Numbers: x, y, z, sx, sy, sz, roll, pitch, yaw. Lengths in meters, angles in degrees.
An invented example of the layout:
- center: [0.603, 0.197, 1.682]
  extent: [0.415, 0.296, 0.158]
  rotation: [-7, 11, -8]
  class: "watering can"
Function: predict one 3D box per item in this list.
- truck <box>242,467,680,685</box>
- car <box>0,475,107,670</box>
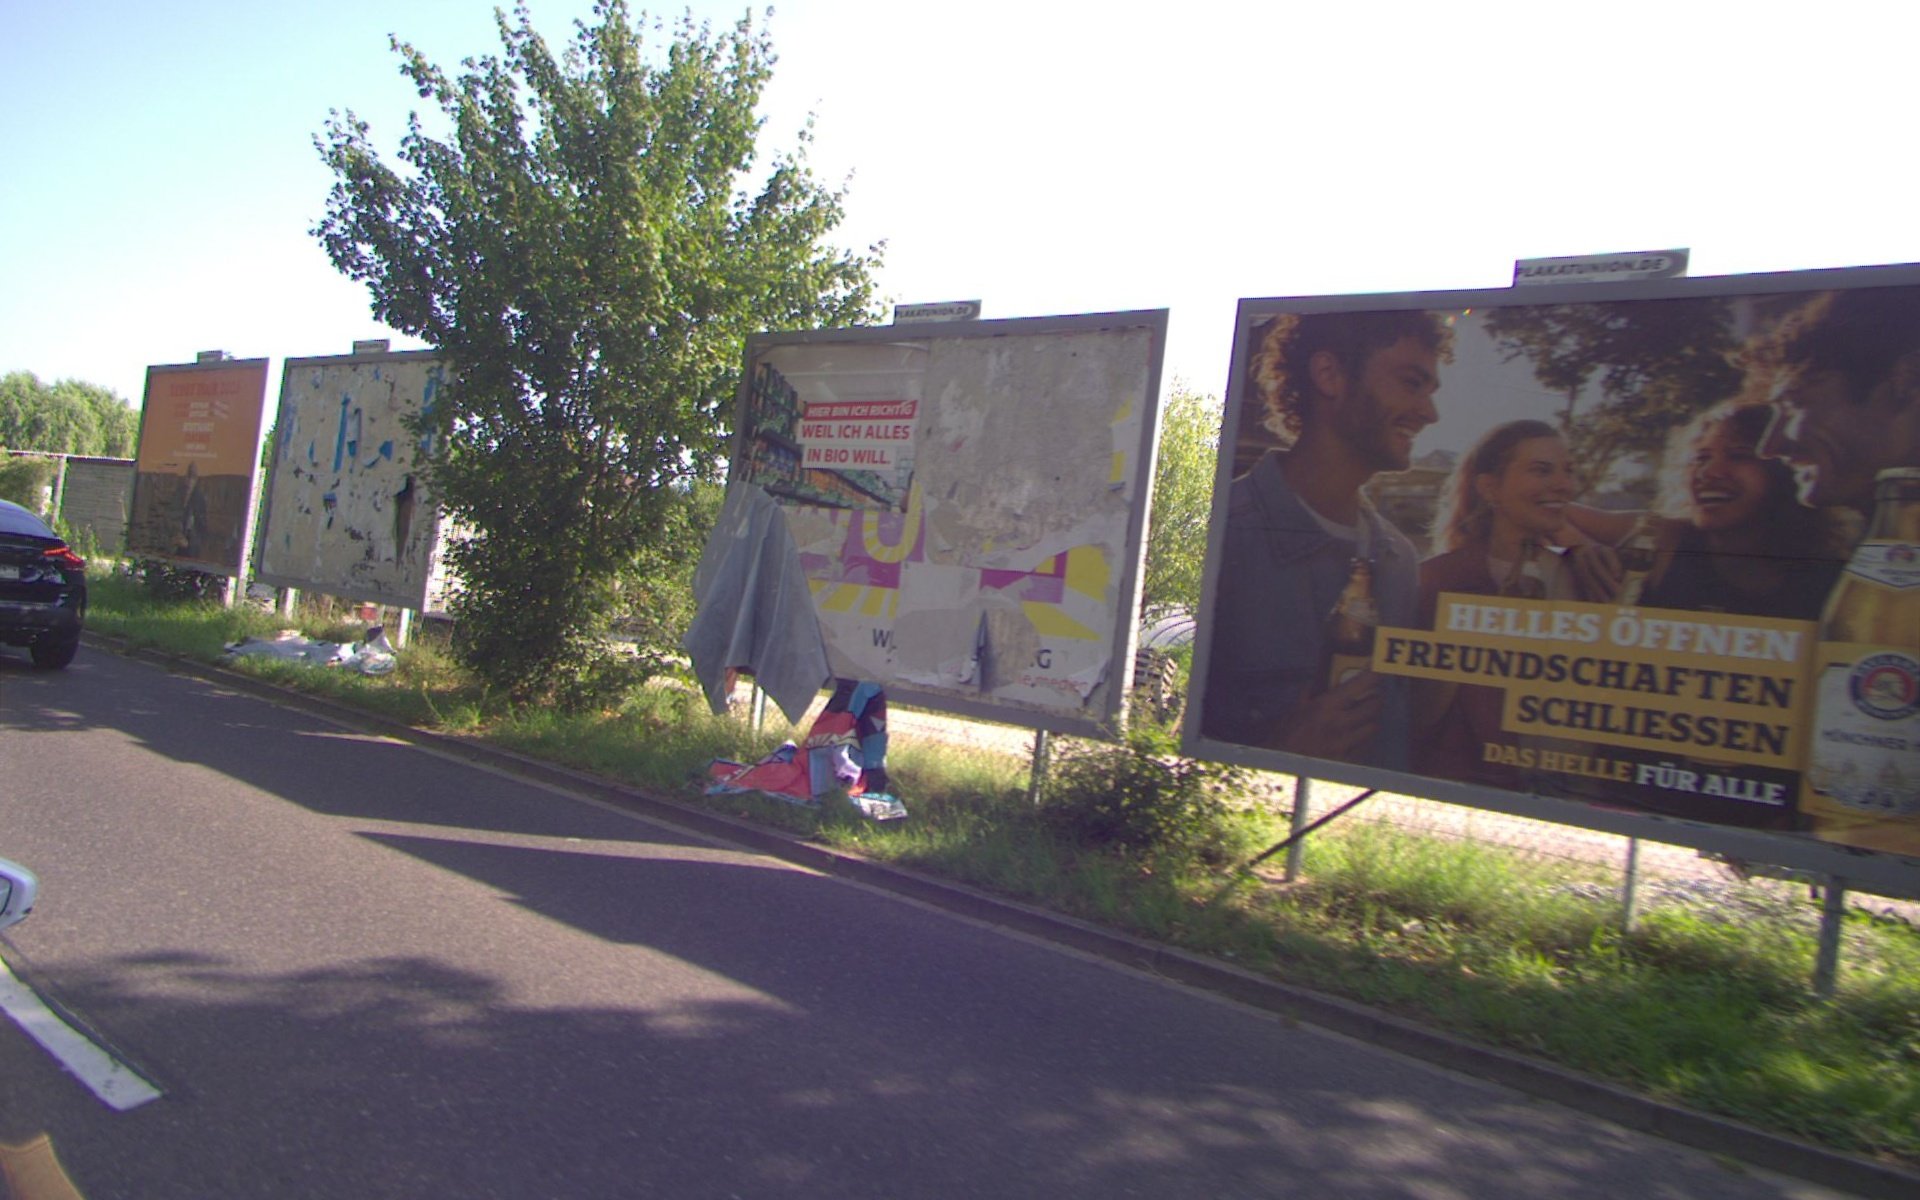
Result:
- center: [-7.041, -0.442, 13.759]
  extent: [6.800, 2.257, 1.919]
  rotation: [6, -3, 33]
  class: "truck"
- center: [-9.958, -0.433, 9.423]
  extent: [4.184, 1.606, 1.648]
  rotation: [6, -2, 31]
  class: "car"
